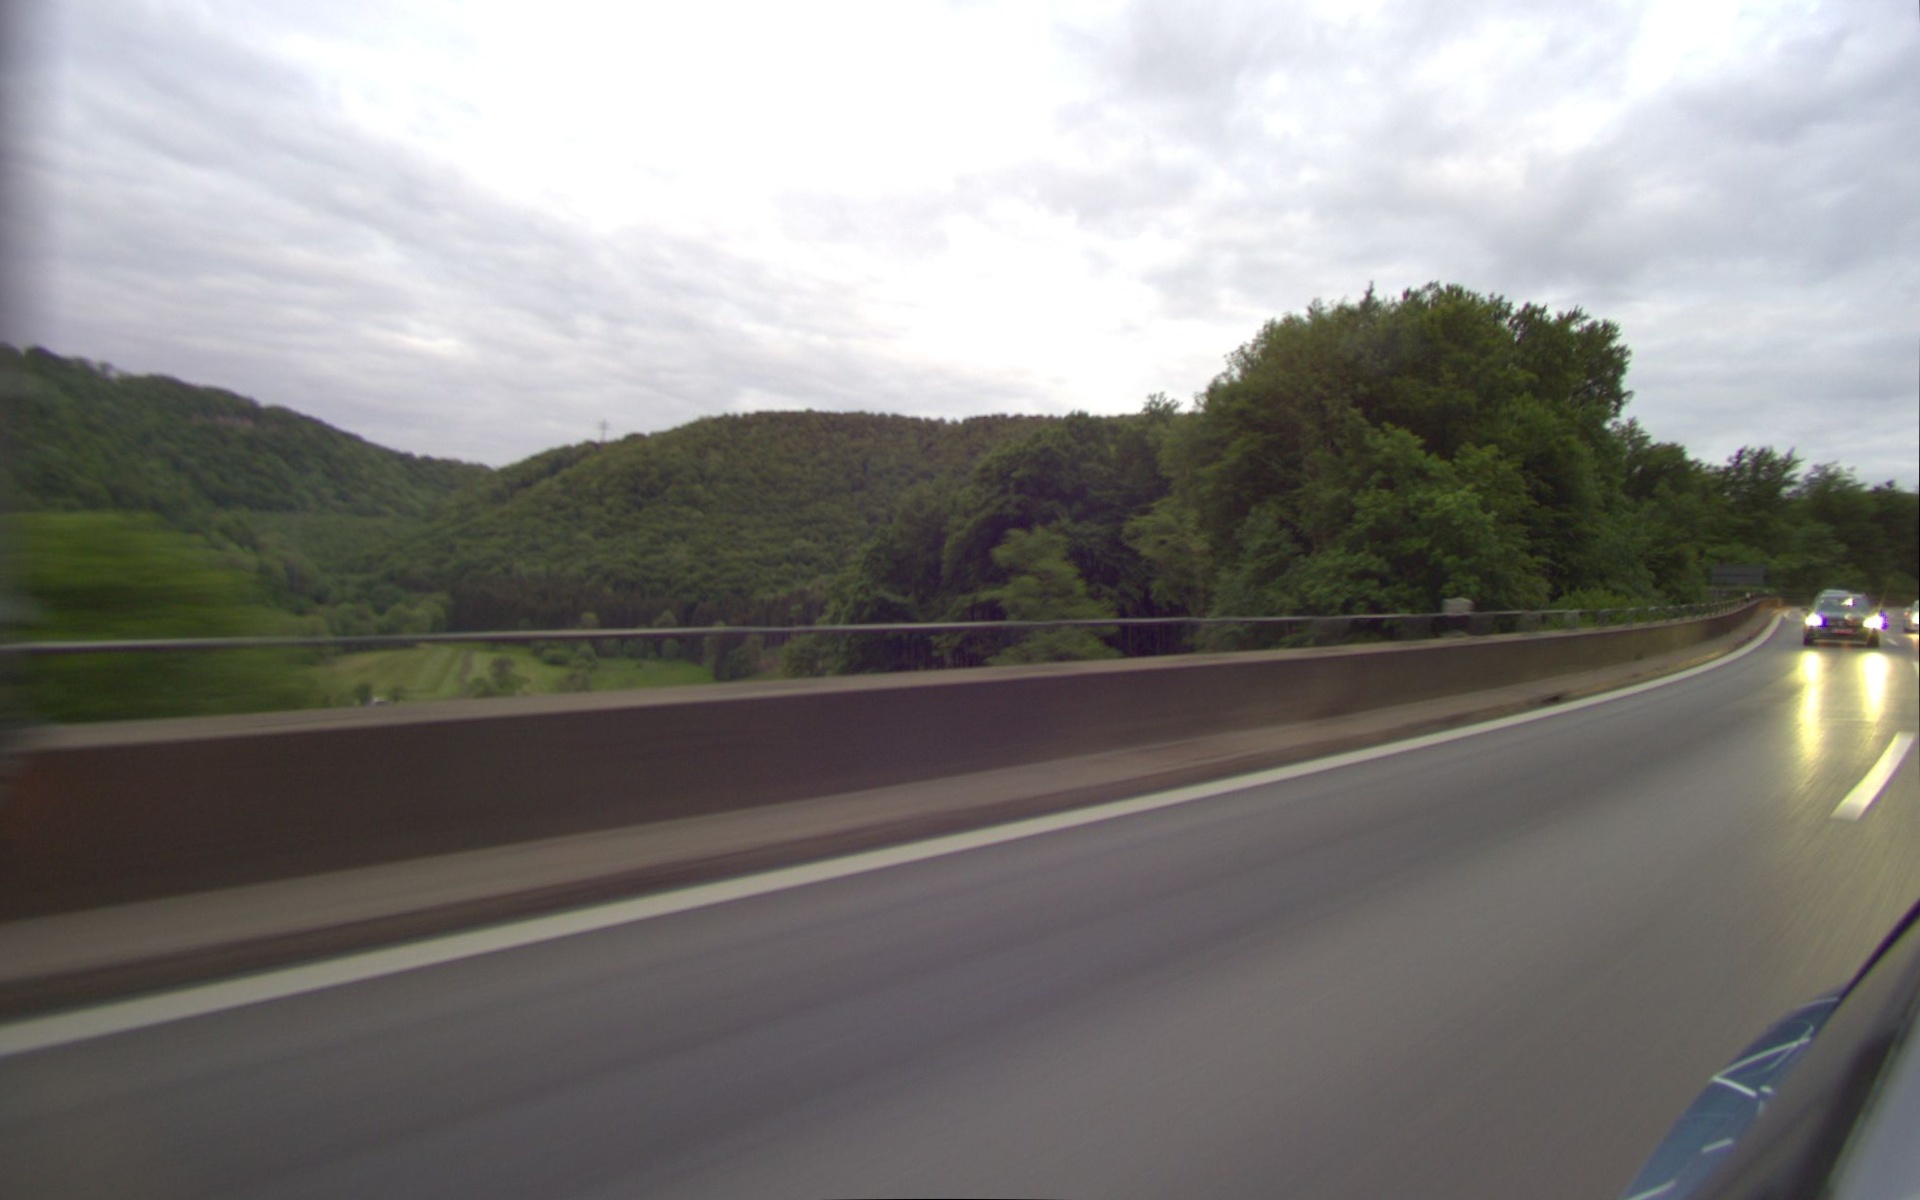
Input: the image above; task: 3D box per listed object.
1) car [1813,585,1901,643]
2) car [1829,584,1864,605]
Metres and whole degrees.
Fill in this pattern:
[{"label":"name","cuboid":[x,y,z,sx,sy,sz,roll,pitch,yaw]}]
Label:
[{"label":"car","cuboid":[28.612,0.386,32.320,1.992,1.660,3.940,1,2,42]},{"label":"car","cuboid":[77.951,-0.494,88.989,1.996,1.637,3.936,7,5,44]}]
